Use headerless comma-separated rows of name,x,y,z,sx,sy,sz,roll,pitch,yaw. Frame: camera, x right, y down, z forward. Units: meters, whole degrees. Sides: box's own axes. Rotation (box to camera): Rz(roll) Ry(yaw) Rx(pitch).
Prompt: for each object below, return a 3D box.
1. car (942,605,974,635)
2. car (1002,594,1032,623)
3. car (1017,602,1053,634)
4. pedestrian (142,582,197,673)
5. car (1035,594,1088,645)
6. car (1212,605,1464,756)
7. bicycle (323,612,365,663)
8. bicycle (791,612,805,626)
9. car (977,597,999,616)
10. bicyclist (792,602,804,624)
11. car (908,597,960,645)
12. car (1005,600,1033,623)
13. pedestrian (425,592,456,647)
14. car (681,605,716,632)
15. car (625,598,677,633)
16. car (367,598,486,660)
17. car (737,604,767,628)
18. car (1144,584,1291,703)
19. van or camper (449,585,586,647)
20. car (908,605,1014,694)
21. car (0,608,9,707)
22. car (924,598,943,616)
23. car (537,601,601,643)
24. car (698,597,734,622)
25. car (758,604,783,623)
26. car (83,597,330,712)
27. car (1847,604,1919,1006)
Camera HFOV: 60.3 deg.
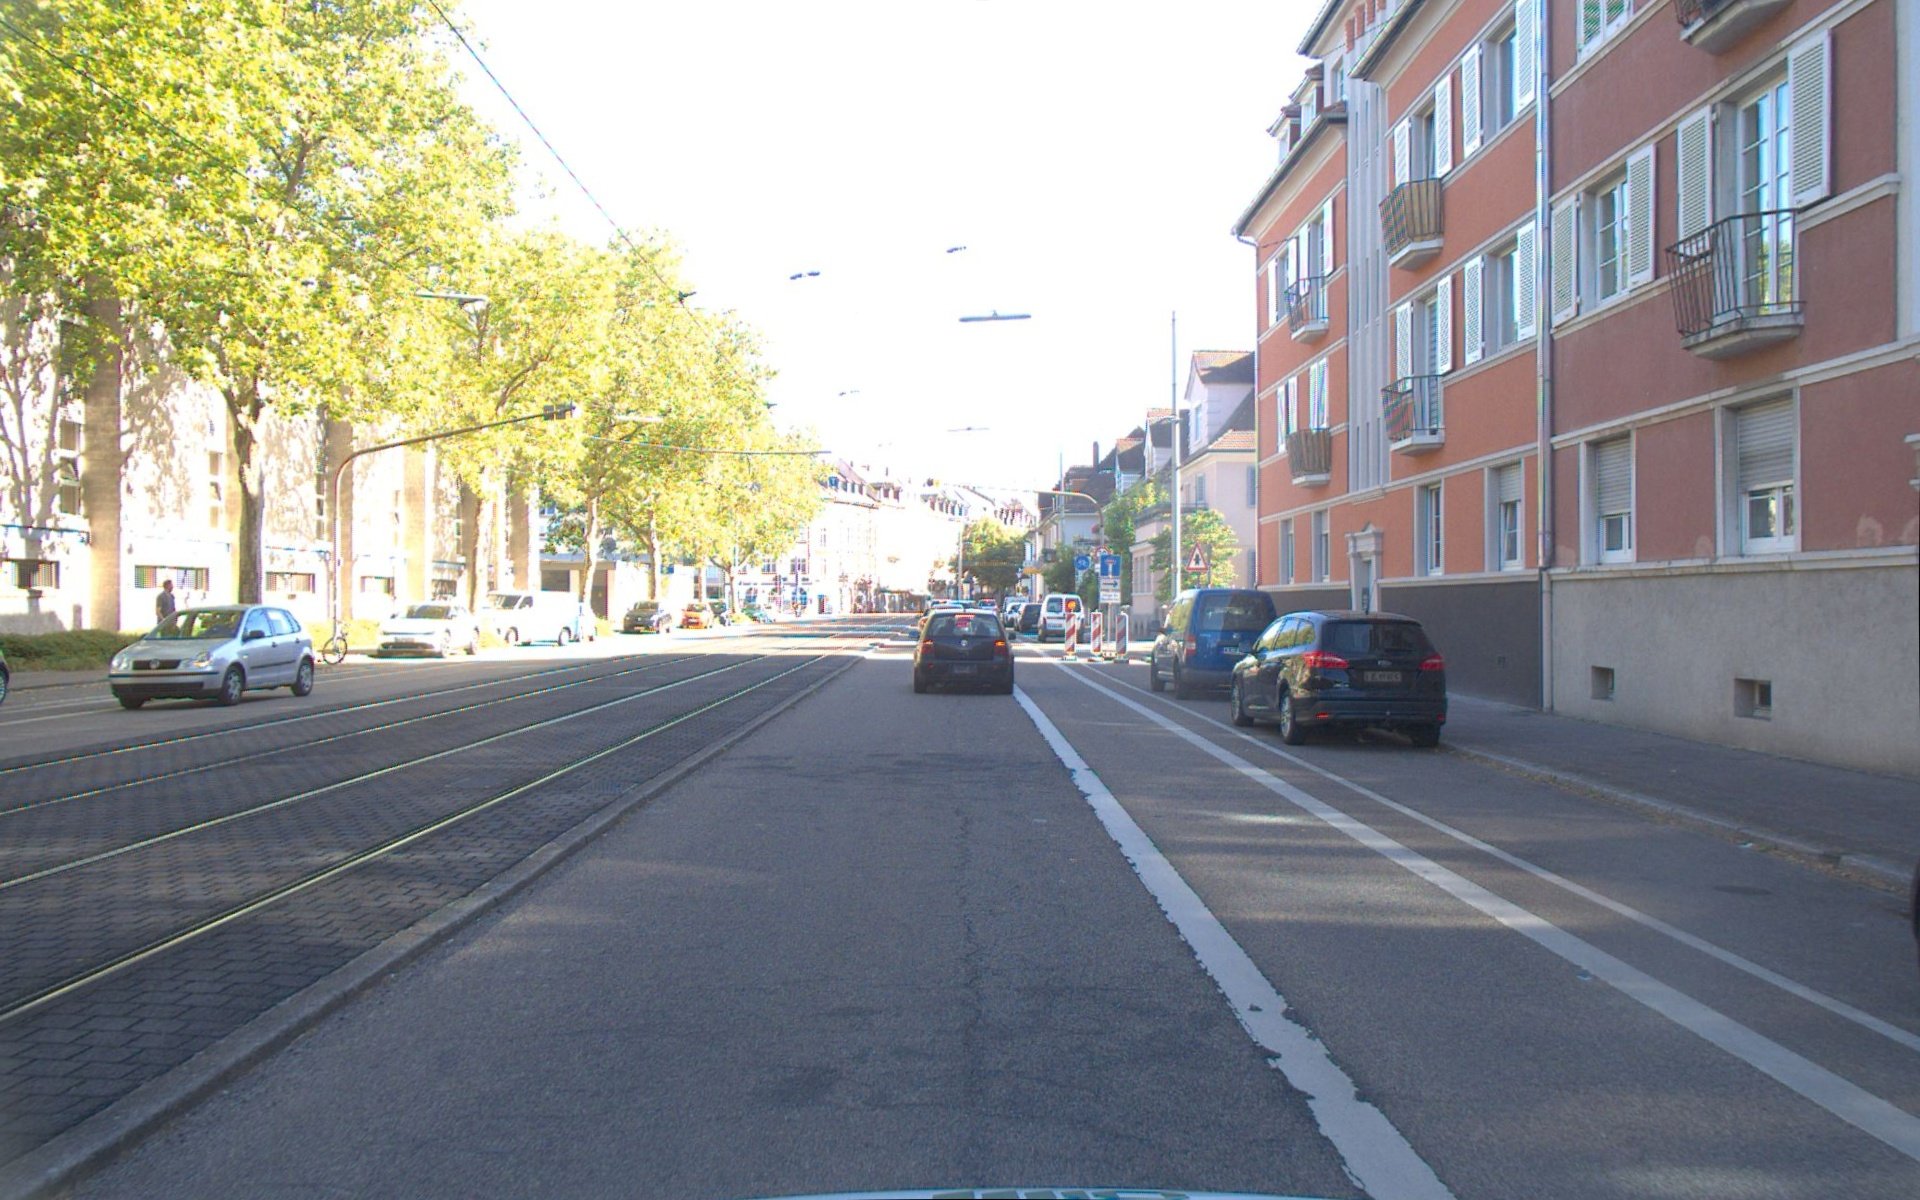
car,-0.128,1.013,85.614,1.602,1.498,3.729,0,0,-1
car,3.650,0.538,106.117,1.780,1.830,3.999,0,0,-1
car,3.764,0.897,83.500,1.627,1.552,4.035,0,0,-1
pedestrian,-16.953,0.583,35.464,0.654,1.902,0.788,2,0,15
car,3.889,0.717,63.744,1.723,1.870,3.547,2,0,-1
car,4.380,0.865,19.947,1.719,1.538,4.760,2,0,-3
bicycle,-15.589,0.940,41.860,0.570,1.230,1.652,2,0,-6
bicycle,-13.738,1.571,140.140,0.895,1.102,3.202,2,0,-1
car,2.178,0.518,130.189,1.602,1.498,3.729,0,0,-1
bicyclist,-13.700,1.109,140.041,0.895,1.865,0.960,2,0,-1
car,-0.855,0.698,56.469,1.713,1.564,3.891,0,0,0
car,3.614,0.697,101.293,1.548,1.399,3.999,0,0,-1
pedestrian,-17.857,0.650,56.882,0.780,1.852,0.670,2,0,-1
car,-15.569,1.097,98.592,1.538,1.560,3.571,0,-1,-1
car,-15.302,0.752,81.995,1.849,1.695,3.999,0,0,-1
car,-15.217,0.796,47.448,1.971,1.600,4.691,2,0,-2
car,-15.985,1.215,127.354,1.846,1.698,3.803,2,0,-2
car,4.324,0.691,28.368,1.668,1.842,4.270,2,0,-2
van or camper,-15.368,0.552,57.798,2.017,1.983,5.191,2,0,19
car,-0.039,0.803,28.633,1.713,1.399,3.999,0,0,-2
car,-15.106,0.843,23.194,1.476,1.479,3.463,0,-1,1
car,-2.316,0.572,146.082,1.603,1.498,3.729,-2,0,-1
car,-15.396,0.858,65.257,1.542,1.533,4.090,2,0,-1
car,-15.920,0.612,108.012,1.756,1.491,3.835,3,0,-1
car,-15.273,1.095,133.635,1.602,1.498,3.729,0,0,-1
car,-11.176,0.763,24.866,1.716,1.544,4.072,-2,0,2
car,4.475,0.812,4.991,1.598,1.538,3.717,2,0,1
